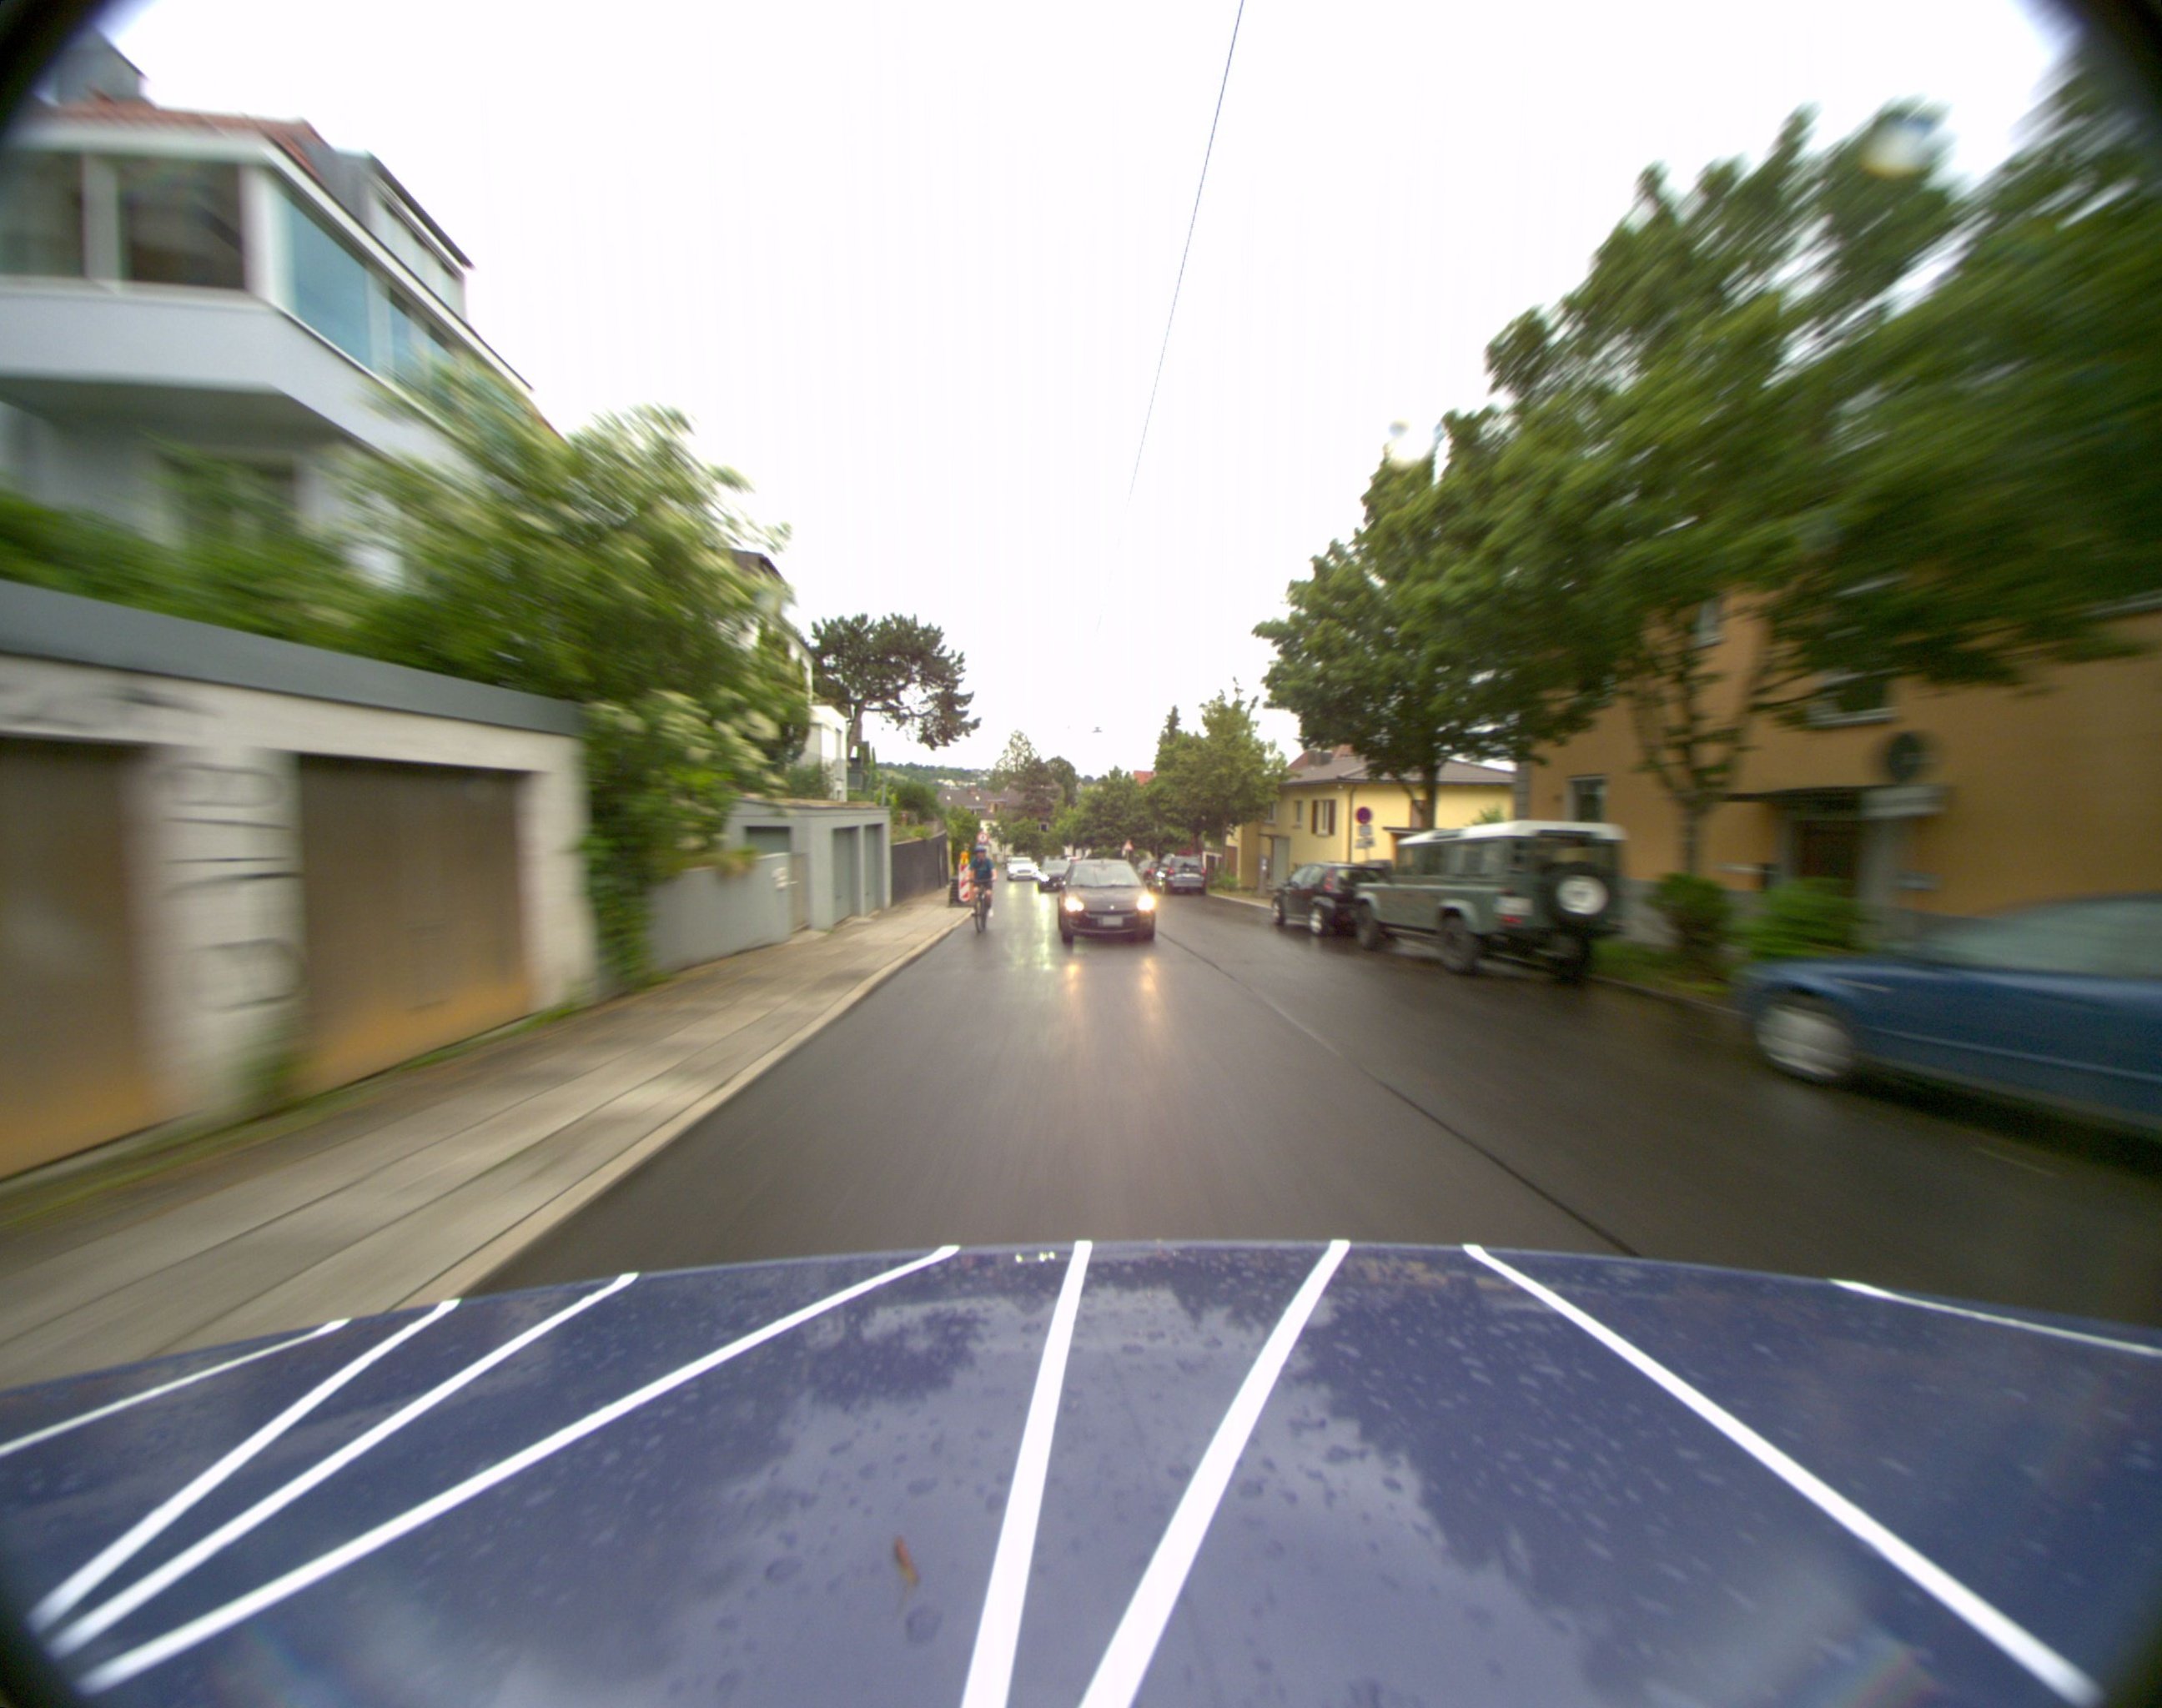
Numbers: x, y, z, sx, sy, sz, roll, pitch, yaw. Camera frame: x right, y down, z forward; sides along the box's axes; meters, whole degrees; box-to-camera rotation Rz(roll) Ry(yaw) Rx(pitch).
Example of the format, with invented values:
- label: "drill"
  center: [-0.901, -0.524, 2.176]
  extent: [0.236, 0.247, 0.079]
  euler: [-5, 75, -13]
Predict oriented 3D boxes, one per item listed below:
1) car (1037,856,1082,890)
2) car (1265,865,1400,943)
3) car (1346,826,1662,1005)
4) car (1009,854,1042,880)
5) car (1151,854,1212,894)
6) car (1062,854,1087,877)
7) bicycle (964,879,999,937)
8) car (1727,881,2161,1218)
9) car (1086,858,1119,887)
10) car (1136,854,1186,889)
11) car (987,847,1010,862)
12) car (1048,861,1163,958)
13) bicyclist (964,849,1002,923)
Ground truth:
- label: "car"
  center: [-1.093, 0.861, 36.089]
  extent: [1.747, 1.433, 4.235]
  euler: [-2, 0, -7]
- label: "car"
  center: [5.232, 0.985, 16.294]
  extent: [1.543, 1.365, 3.539]
  euler: [3, 0, -2]
- label: "car"
  center: [5.684, 0.701, 11.049]
  extent: [1.823, 2.000, 4.561]
  euler: [3, 0, -2]
- label: "car"
  center: [-4.030, 0.918, 54.285]
  extent: [2.019, 1.728, 4.595]
  euler: [-2, 0, -8]
- label: "car"
  center: [4.275, 0.810, 32.935]
  extent: [1.910, 1.591, 4.088]
  euler: [1, 0, -3]
- label: "car"
  center: [-0.626, 1.022, 69.190]
  extent: [1.999, 2.002, 3.998]
  euler: [1, 0, -4]
- label: "bicycle"
  center: [-2.104, 1.118, 16.173]
  extent: [0.590, 1.092, 1.528]
  euler: [-1, 1, -3]
- label: "car"
  center: [5.724, 0.965, 3.586]
  extent: [1.622, 1.433, 4.267]
  euler: [3, 0, -1]
- label: "car"
  center: [1.589, 1.329, 55.099]
  extent: [1.997, 2.002, 4.002]
  euler: [1, 0, 7]
- label: "car"
  center: [3.863, 0.808, 37.389]
  extent: [1.864, 1.563, 3.907]
  euler: [1, 0, -3]
- label: "car"
  center: [-10.817, 0.110, 99.220]
  extent: [2.002, 1.705, 3.994]
  euler: [-2, -2, -21]
- label: "car"
  center: [0.460, 0.877, 13.951]
  extent: [1.746, 1.433, 4.360]
  euler: [-1, 0, 2]
- label: "bicyclist"
  center: [-2.081, 0.664, 16.217]
  extent: [0.685, 1.528, 0.784]
  euler: [-2, 1, -3]
